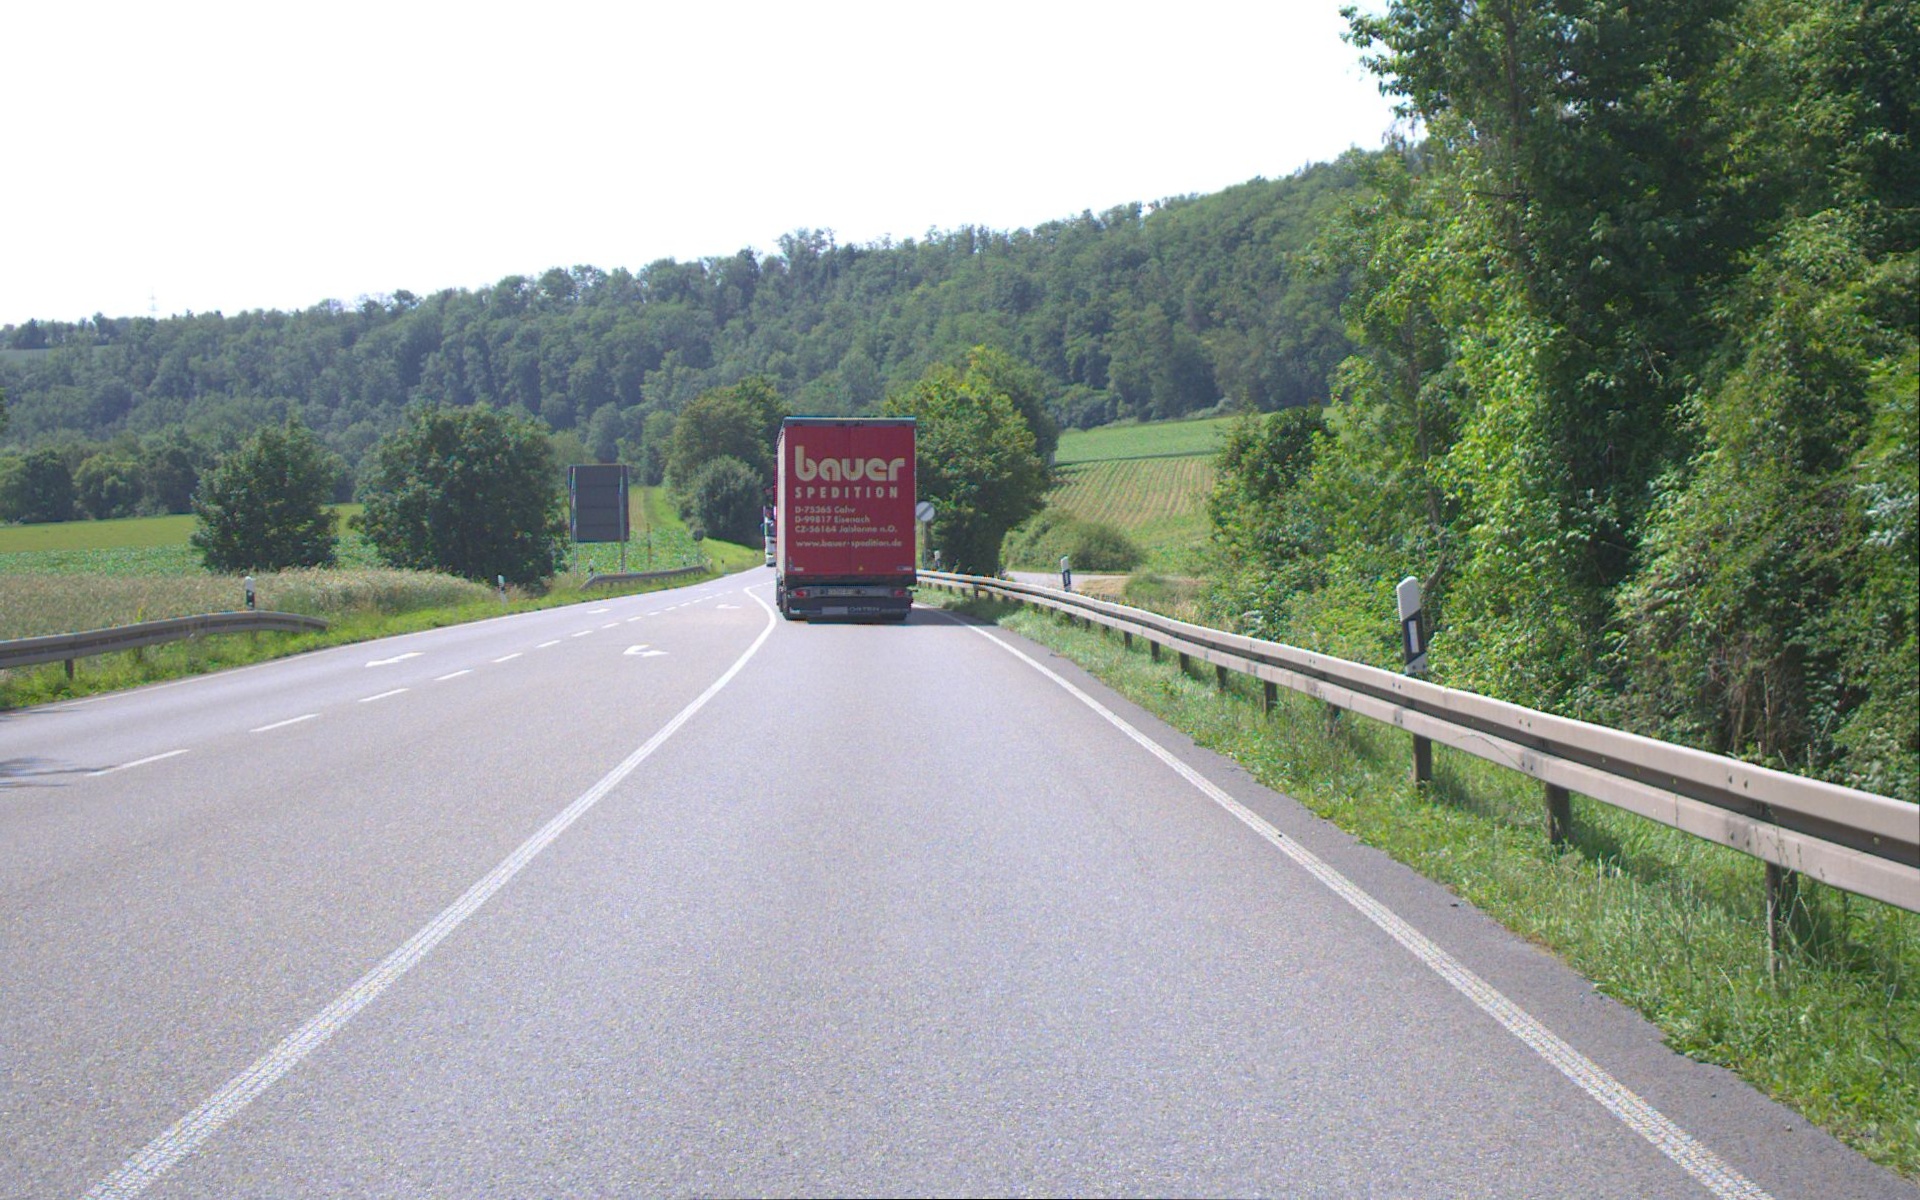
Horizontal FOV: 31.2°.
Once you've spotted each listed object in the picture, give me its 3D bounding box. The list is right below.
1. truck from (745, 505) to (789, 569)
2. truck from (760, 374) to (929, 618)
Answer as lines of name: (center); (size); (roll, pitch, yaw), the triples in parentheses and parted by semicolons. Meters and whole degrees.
truck: (-12.839, -4.215, 229.483); (2.530, 4.105, 6.021); (-2, 1, -1)
truck: (-2.510, -2.142, 72.382); (3.172, 4.609, 13.545); (-1, 1, -3)
